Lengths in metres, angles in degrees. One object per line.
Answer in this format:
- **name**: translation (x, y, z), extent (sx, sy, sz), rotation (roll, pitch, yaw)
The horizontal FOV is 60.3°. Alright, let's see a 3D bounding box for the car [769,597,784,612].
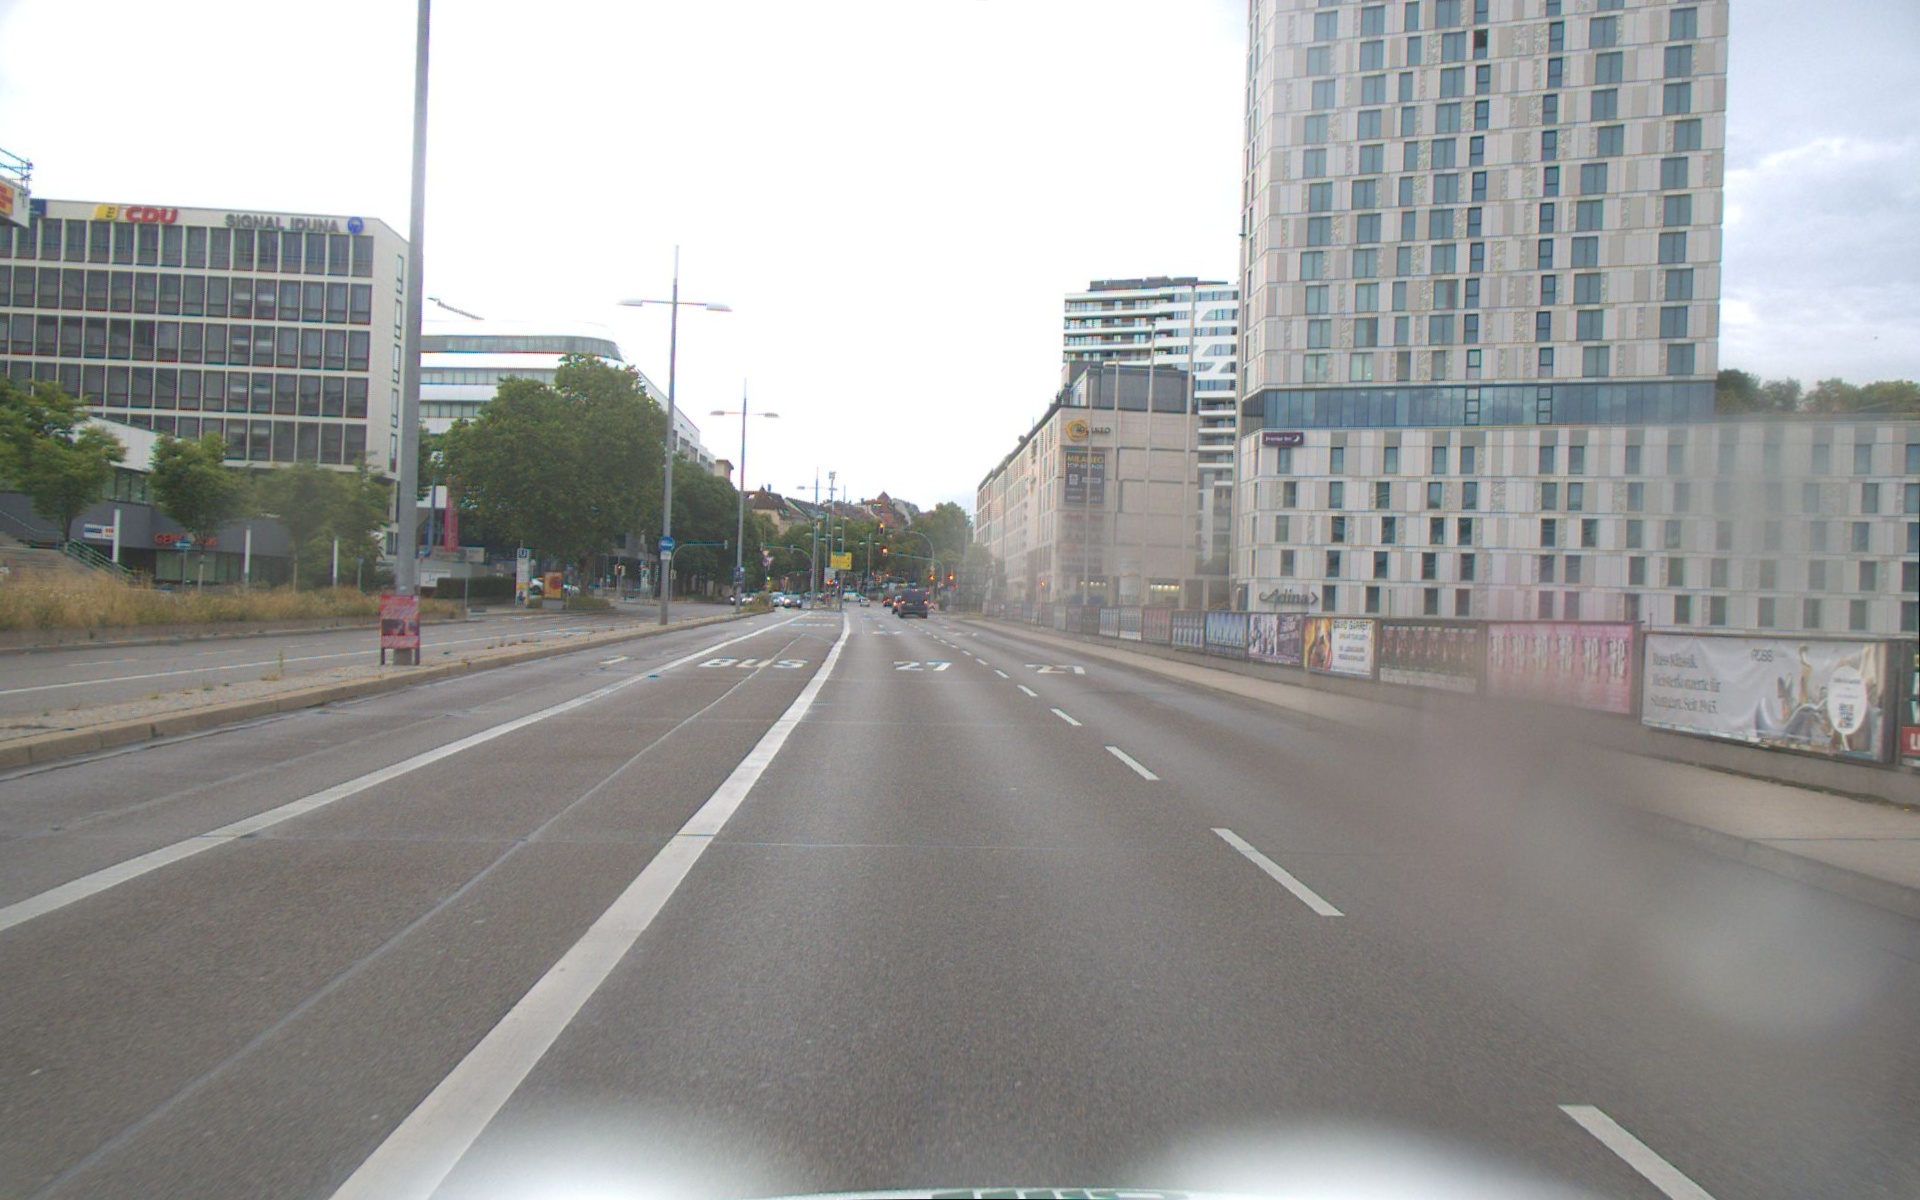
- **car**: translation (-23.033, 0.543, 207.879), extent (1.708, 1.779, 3.537), rotation (1, -1, -4)

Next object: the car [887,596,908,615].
- **car**: translation (-5.317, 0.455, 141.048), extent (1.705, 1.558, 3.811), rotation (1, -1, -4)

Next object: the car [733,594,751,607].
- **car**: translation (-24.510, 0.057, 186.178), extent (1.708, 1.352, 4.222), rotation (1, -1, -4)

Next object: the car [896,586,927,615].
- **car**: translation (-3.447, -0.008, 116.226), extent (1.992, 1.915, 5.039), rotation (-2, 1, -3)

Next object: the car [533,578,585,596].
- **car**: translation (-38.011, -1.252, 156.946), extent (4.405, 1.660, 1.896), rotation (1, -1, 12)

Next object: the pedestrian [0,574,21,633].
- **pedestrian**: translation (-30.156, 0.104, 52.217), extent (0.617, 1.839, 0.628), rotation (1, -1, -3)

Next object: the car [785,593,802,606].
- **car**: translation (-18.710, -0.047, 185.680), extent (1.708, 1.470, 3.392), rotation (1, -1, -4)
